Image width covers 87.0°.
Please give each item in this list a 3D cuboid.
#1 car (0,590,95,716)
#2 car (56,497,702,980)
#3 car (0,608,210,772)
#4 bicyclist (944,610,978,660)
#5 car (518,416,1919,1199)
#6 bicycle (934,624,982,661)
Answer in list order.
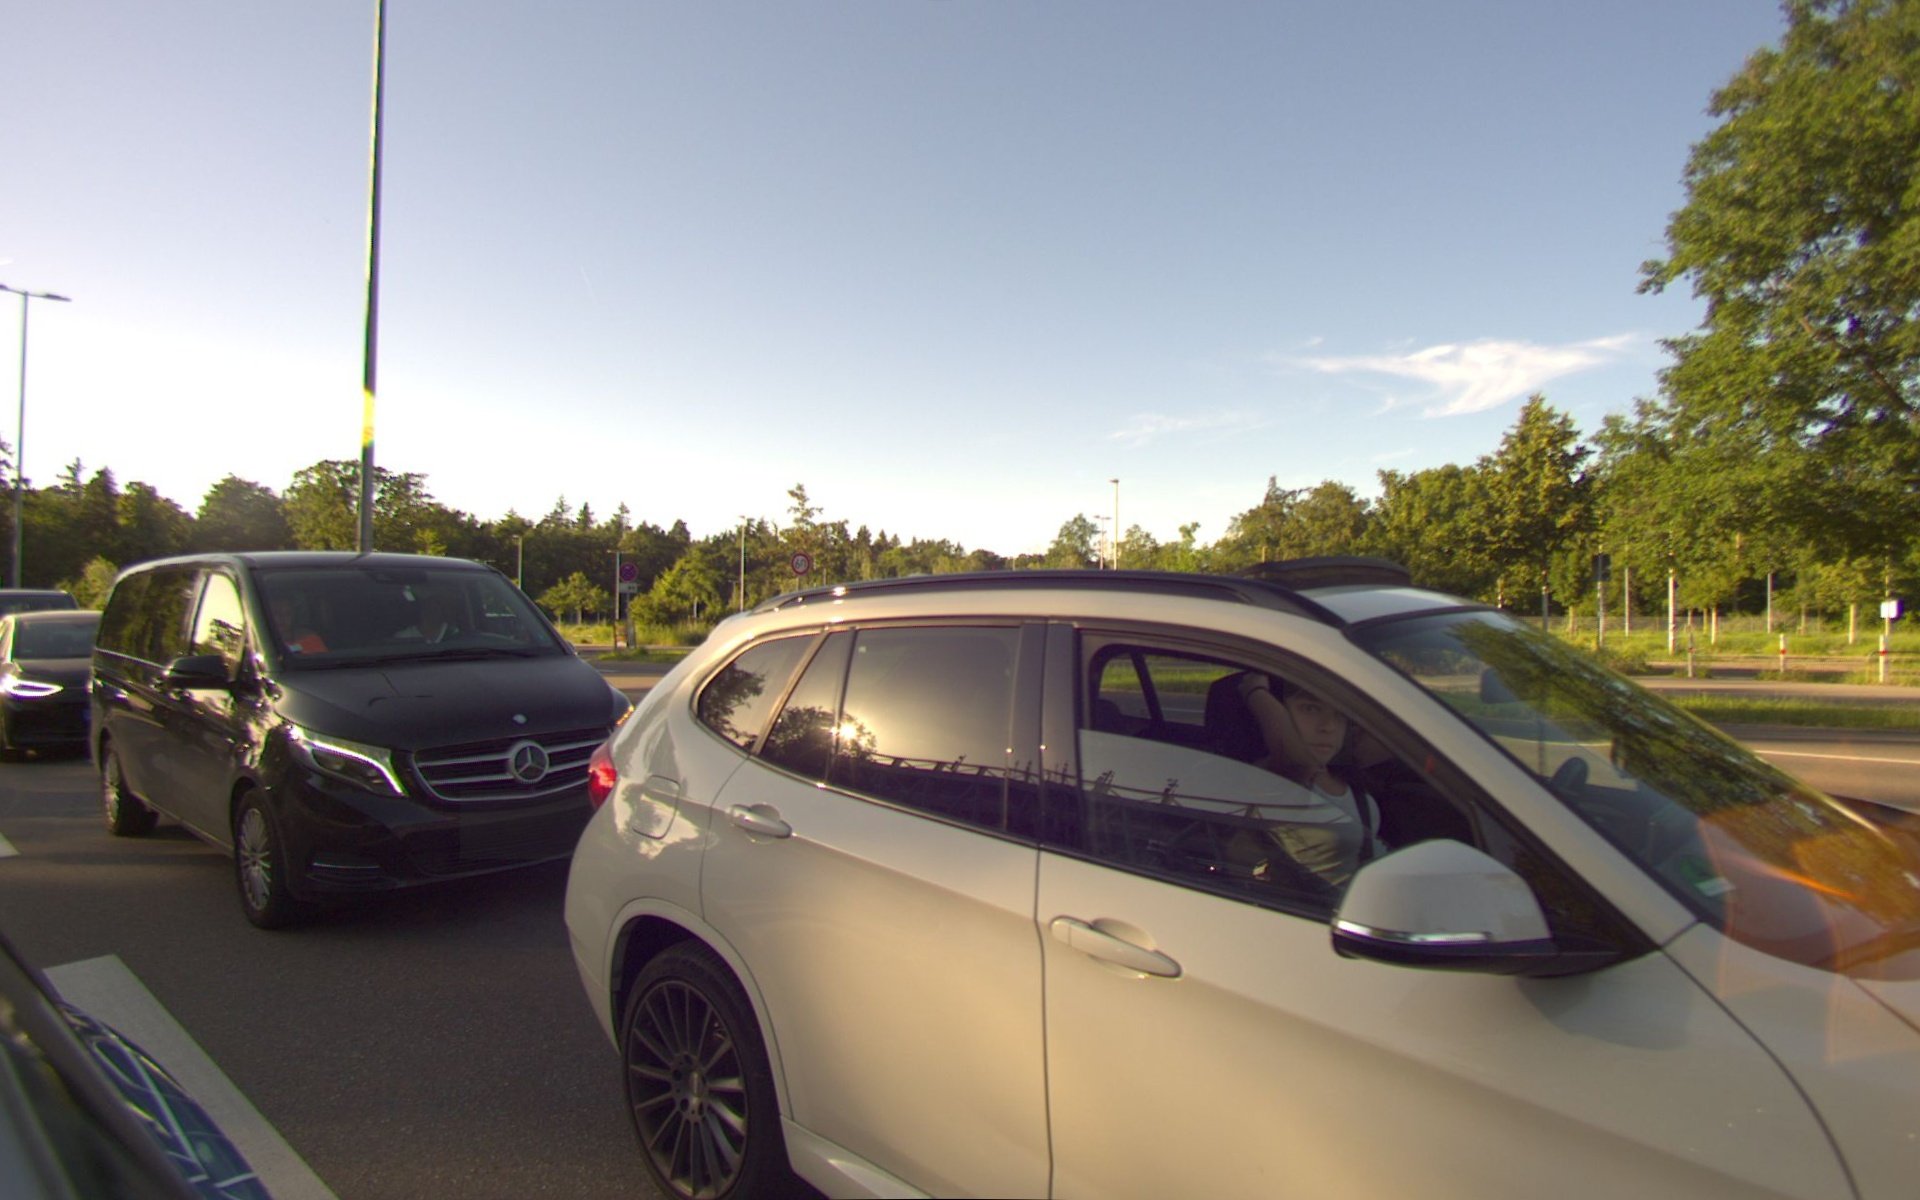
[{"bbox_3d":[-16.399,0.842,17.146,5.064,1.907,1.843,-1,0,40],"label":"car"},{"bbox_3d":[-3.967,0.581,6.368,5.230,1.887,1.861,-1,-1,40],"label":"car"},{"bbox_3d":[-10.352,0.914,11.779,4.100,1.581,1.714,-1,-1,40],"label":"car"},{"bbox_3d":[0.033,1.003,29.165,0.800,1.424,0.585,-1,0,43],"label":"bicyclist"},{"bbox_3d":[0.982,0.630,2.112,4.317,1.595,1.774,-1,-1,40],"label":"car"},{"bbox_3d":[-0.071,1.218,29.348,1.361,1.027,0.576,-1,0,42],"label":"bicycle"}]
